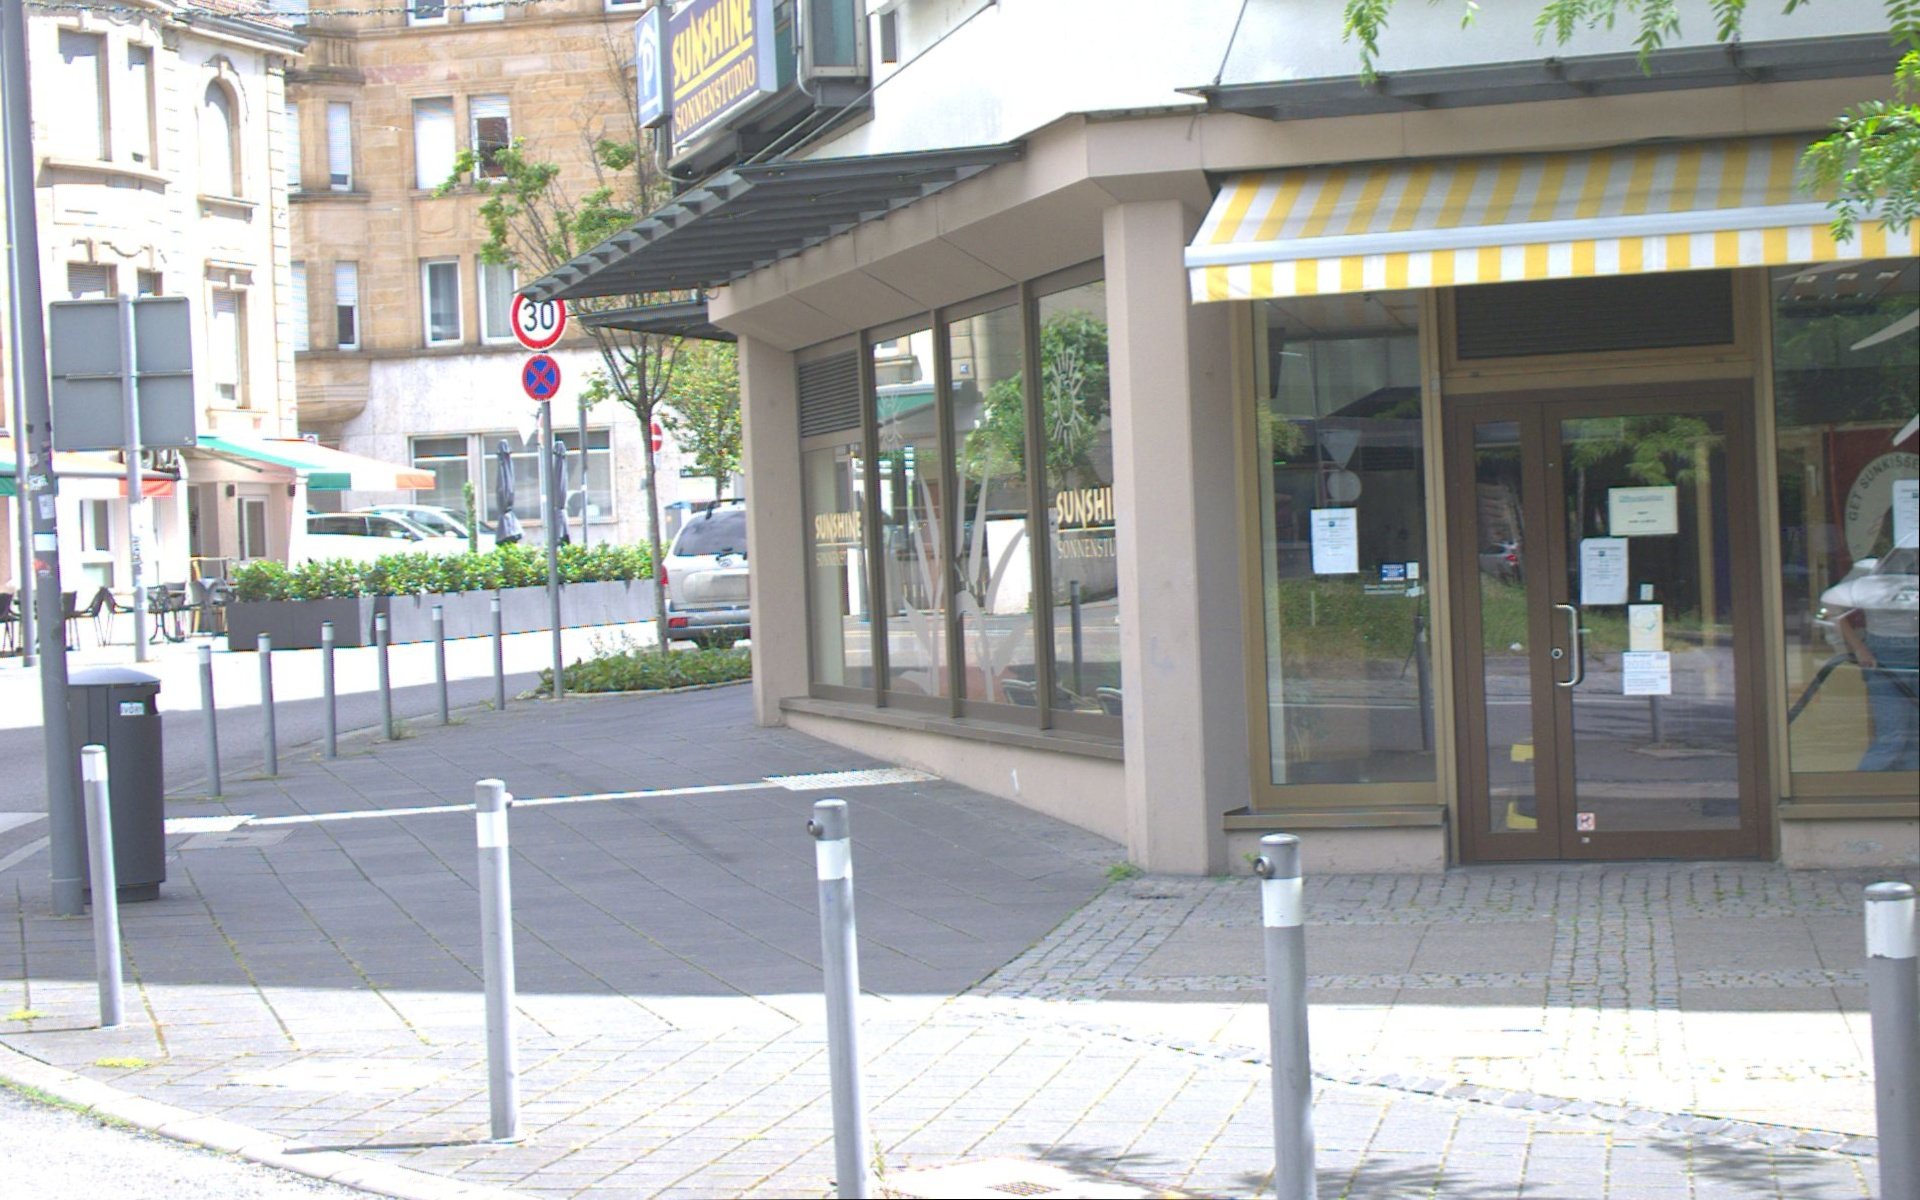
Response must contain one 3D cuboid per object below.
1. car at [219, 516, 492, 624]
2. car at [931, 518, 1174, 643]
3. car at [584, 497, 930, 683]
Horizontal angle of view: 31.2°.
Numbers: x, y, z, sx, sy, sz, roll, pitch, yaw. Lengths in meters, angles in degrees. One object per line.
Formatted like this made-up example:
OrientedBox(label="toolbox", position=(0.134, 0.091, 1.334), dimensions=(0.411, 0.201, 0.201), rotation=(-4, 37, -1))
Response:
OrientedBox(label="car", position=(-10.759, -0.548, 61.397), dimensions=(4.419, 1.769, 2.000), rotation=(-1, 1, 4))
OrientedBox(label="car", position=(1.307, -0.294, 46.570), dimensions=(1.826, 1.514, 4.228), rotation=(-3, 1, 23))
OrientedBox(label="car", position=(-2.010, -0.146, 35.463), dimensions=(1.826, 1.725, 4.228), rotation=(-3, 1, 23))
